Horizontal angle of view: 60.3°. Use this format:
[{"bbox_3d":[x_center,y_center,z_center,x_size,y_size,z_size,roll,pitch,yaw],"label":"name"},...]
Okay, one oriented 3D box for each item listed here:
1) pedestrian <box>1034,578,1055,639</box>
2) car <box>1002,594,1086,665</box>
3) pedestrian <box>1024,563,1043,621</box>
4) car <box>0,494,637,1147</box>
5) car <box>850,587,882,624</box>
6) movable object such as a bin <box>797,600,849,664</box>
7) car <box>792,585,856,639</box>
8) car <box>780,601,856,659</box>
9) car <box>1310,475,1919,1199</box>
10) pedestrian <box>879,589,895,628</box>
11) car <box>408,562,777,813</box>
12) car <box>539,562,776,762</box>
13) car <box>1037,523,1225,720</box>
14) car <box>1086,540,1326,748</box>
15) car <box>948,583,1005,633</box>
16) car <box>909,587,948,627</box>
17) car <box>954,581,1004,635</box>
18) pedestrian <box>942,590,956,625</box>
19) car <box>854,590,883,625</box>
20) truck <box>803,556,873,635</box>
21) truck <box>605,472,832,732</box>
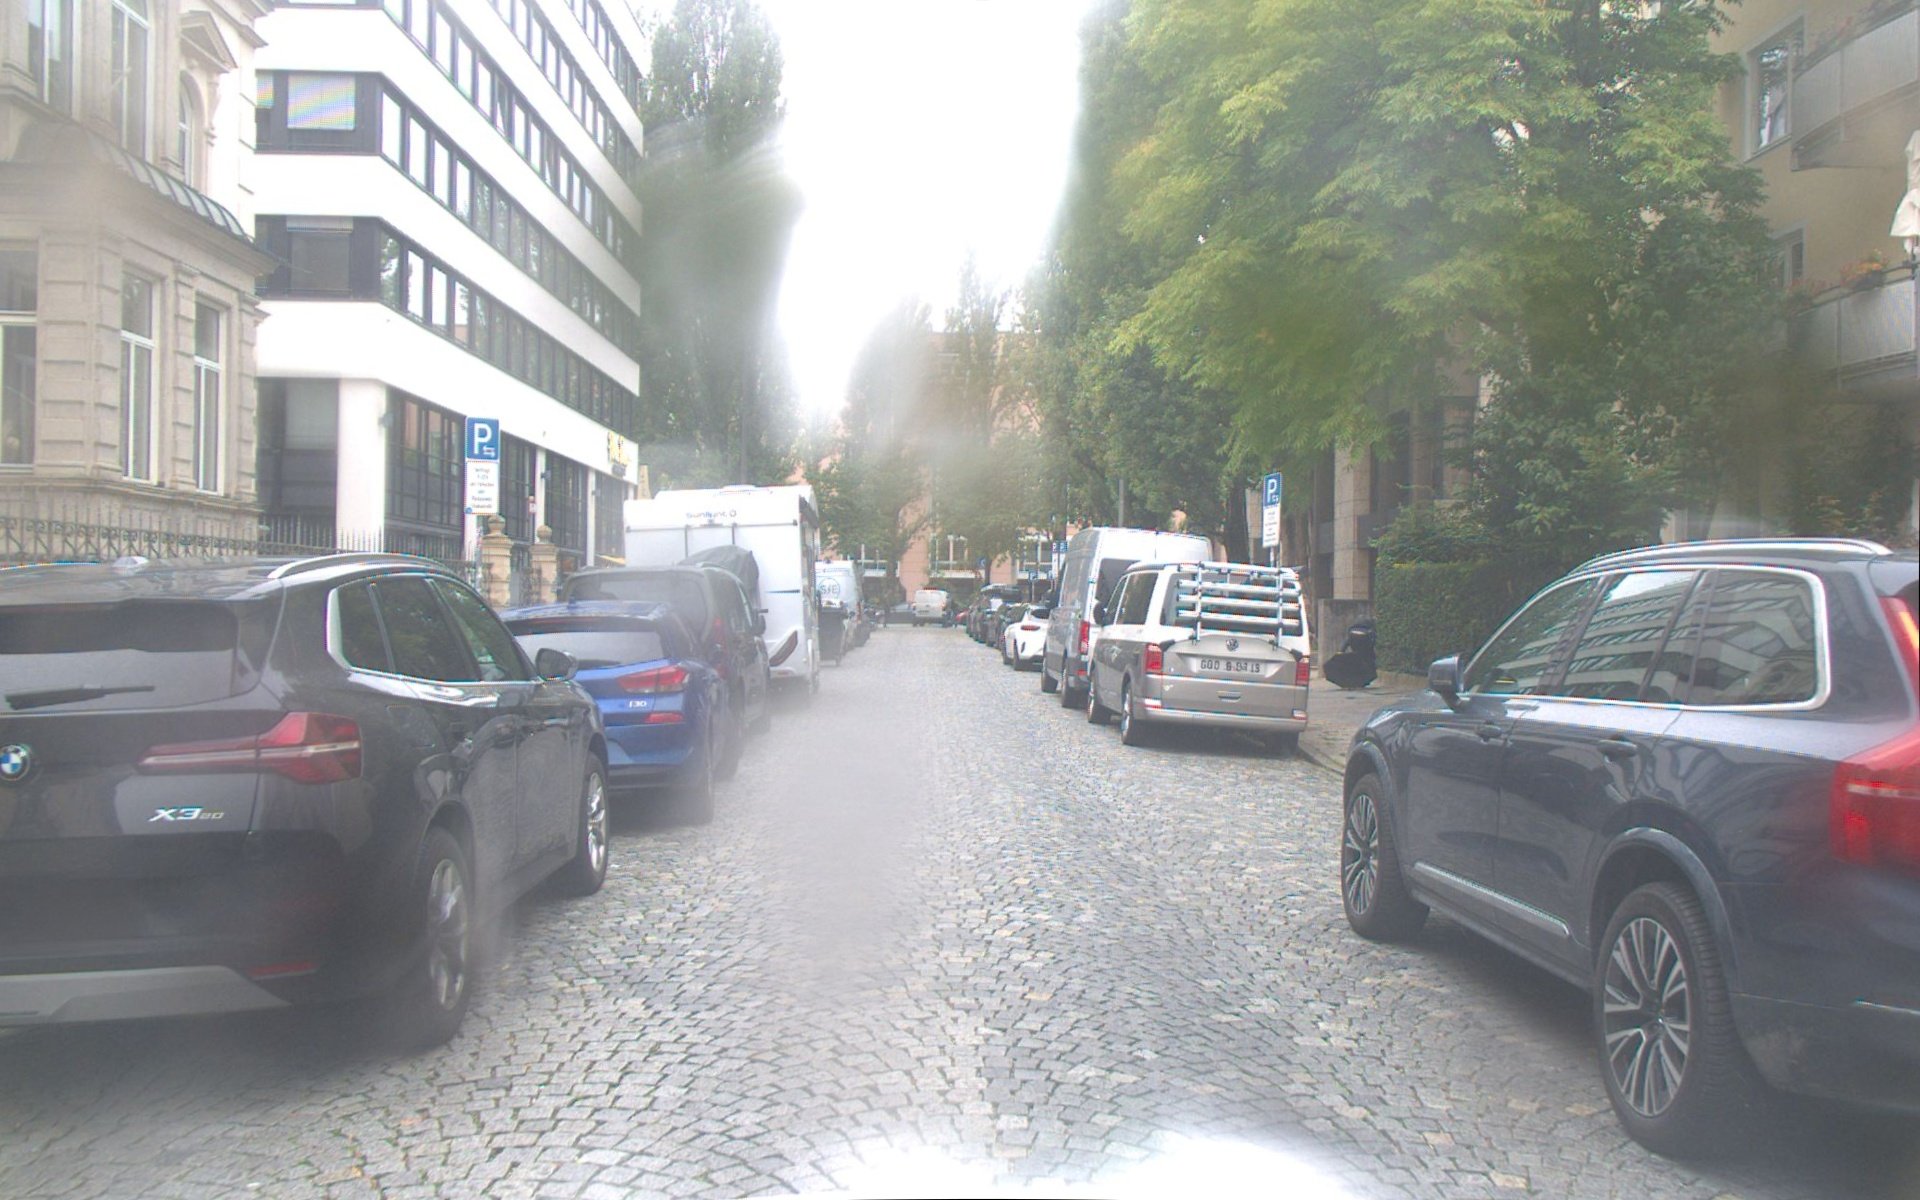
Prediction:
[{"bbox_3d":[3.138,0.328,61.444,0.697,2.229,0.813,1,-1,0],"label":"pedestrian"},{"bbox_3d":[1.858,0.639,37.261,1.567,1.512,3.477,1,0,-2],"label":"car"},{"bbox_3d":[3.175,-0.347,71.461,0.697,2.467,0.813,-2,2,0],"label":"pedestrian"},{"bbox_3d":[-2.531,0.600,6.640,1.738,1.748,4.389,1,0,-2],"label":"car"},{"bbox_3d":[-4.123,0.241,72.779,1.264,1.566,3.118,1,0,-2],"label":"car"},{"bbox_3d":[-3.046,0.699,36.890,1.042,1.387,1.289,1,0,-2],"label":"movable object such as a bin"},{"bbox_3d":[-3.911,0.345,48.063,1.628,1.481,3.546,1,0,-2],"label":"car"},{"bbox_3d":[-3.466,0.712,40.908,1.628,1.352,3.546,1,0,-2],"label":"car"},{"bbox_3d":[2.872,0.653,6.094,1.923,1.789,4.952,1,0,-2],"label":"car"},{"bbox_3d":[-3.579,0.417,81.338,0.710,1.944,0.641,1,-1,0],"label":"pedestrian"},{"bbox_3d":[-2.436,0.542,12.007,1.901,1.485,4.056,1,0,-3],"label":"car"},{"bbox_3d":[-2.929,0.538,16.867,1.856,1.781,4.165,0,0,-3],"label":"car"},{"bbox_3d":[2.395,0.251,24.707,1.857,2.468,5.609,4,0,-2],"label":"car"},{"bbox_3d":[2.654,0.447,18.998,1.764,1.983,4.858,3,0,-2],"label":"car"},{"bbox_3d":[0.530,0.270,55.753,1.830,1.633,3.271,1,0,0],"label":"car"},{"bbox_3d":[-1.605,0.354,85.341,1.955,1.970,4.000,1,0,0],"label":"car"},{"bbox_3d":[0.708,0.321,63.778,1.830,1.995,4.000,1,0,0],"label":"car"},{"bbox_3d":[-0.540,0.380,81.830,0.673,1.716,0.500,1,0,1],"label":"pedestrian"},{"bbox_3d":[-4.276,0.348,77.586,1.251,1.568,3.118,1,0,-2],"label":"car"},{"bbox_3d":[-3.811,-0.126,52.240,1.953,2.388,4.066,1,0,-2],"label":"truck"},{"bbox_3d":[-3.165,-0.012,23.189,2.458,3.084,6.381,-1,1,-3],"label":"truck"}]
